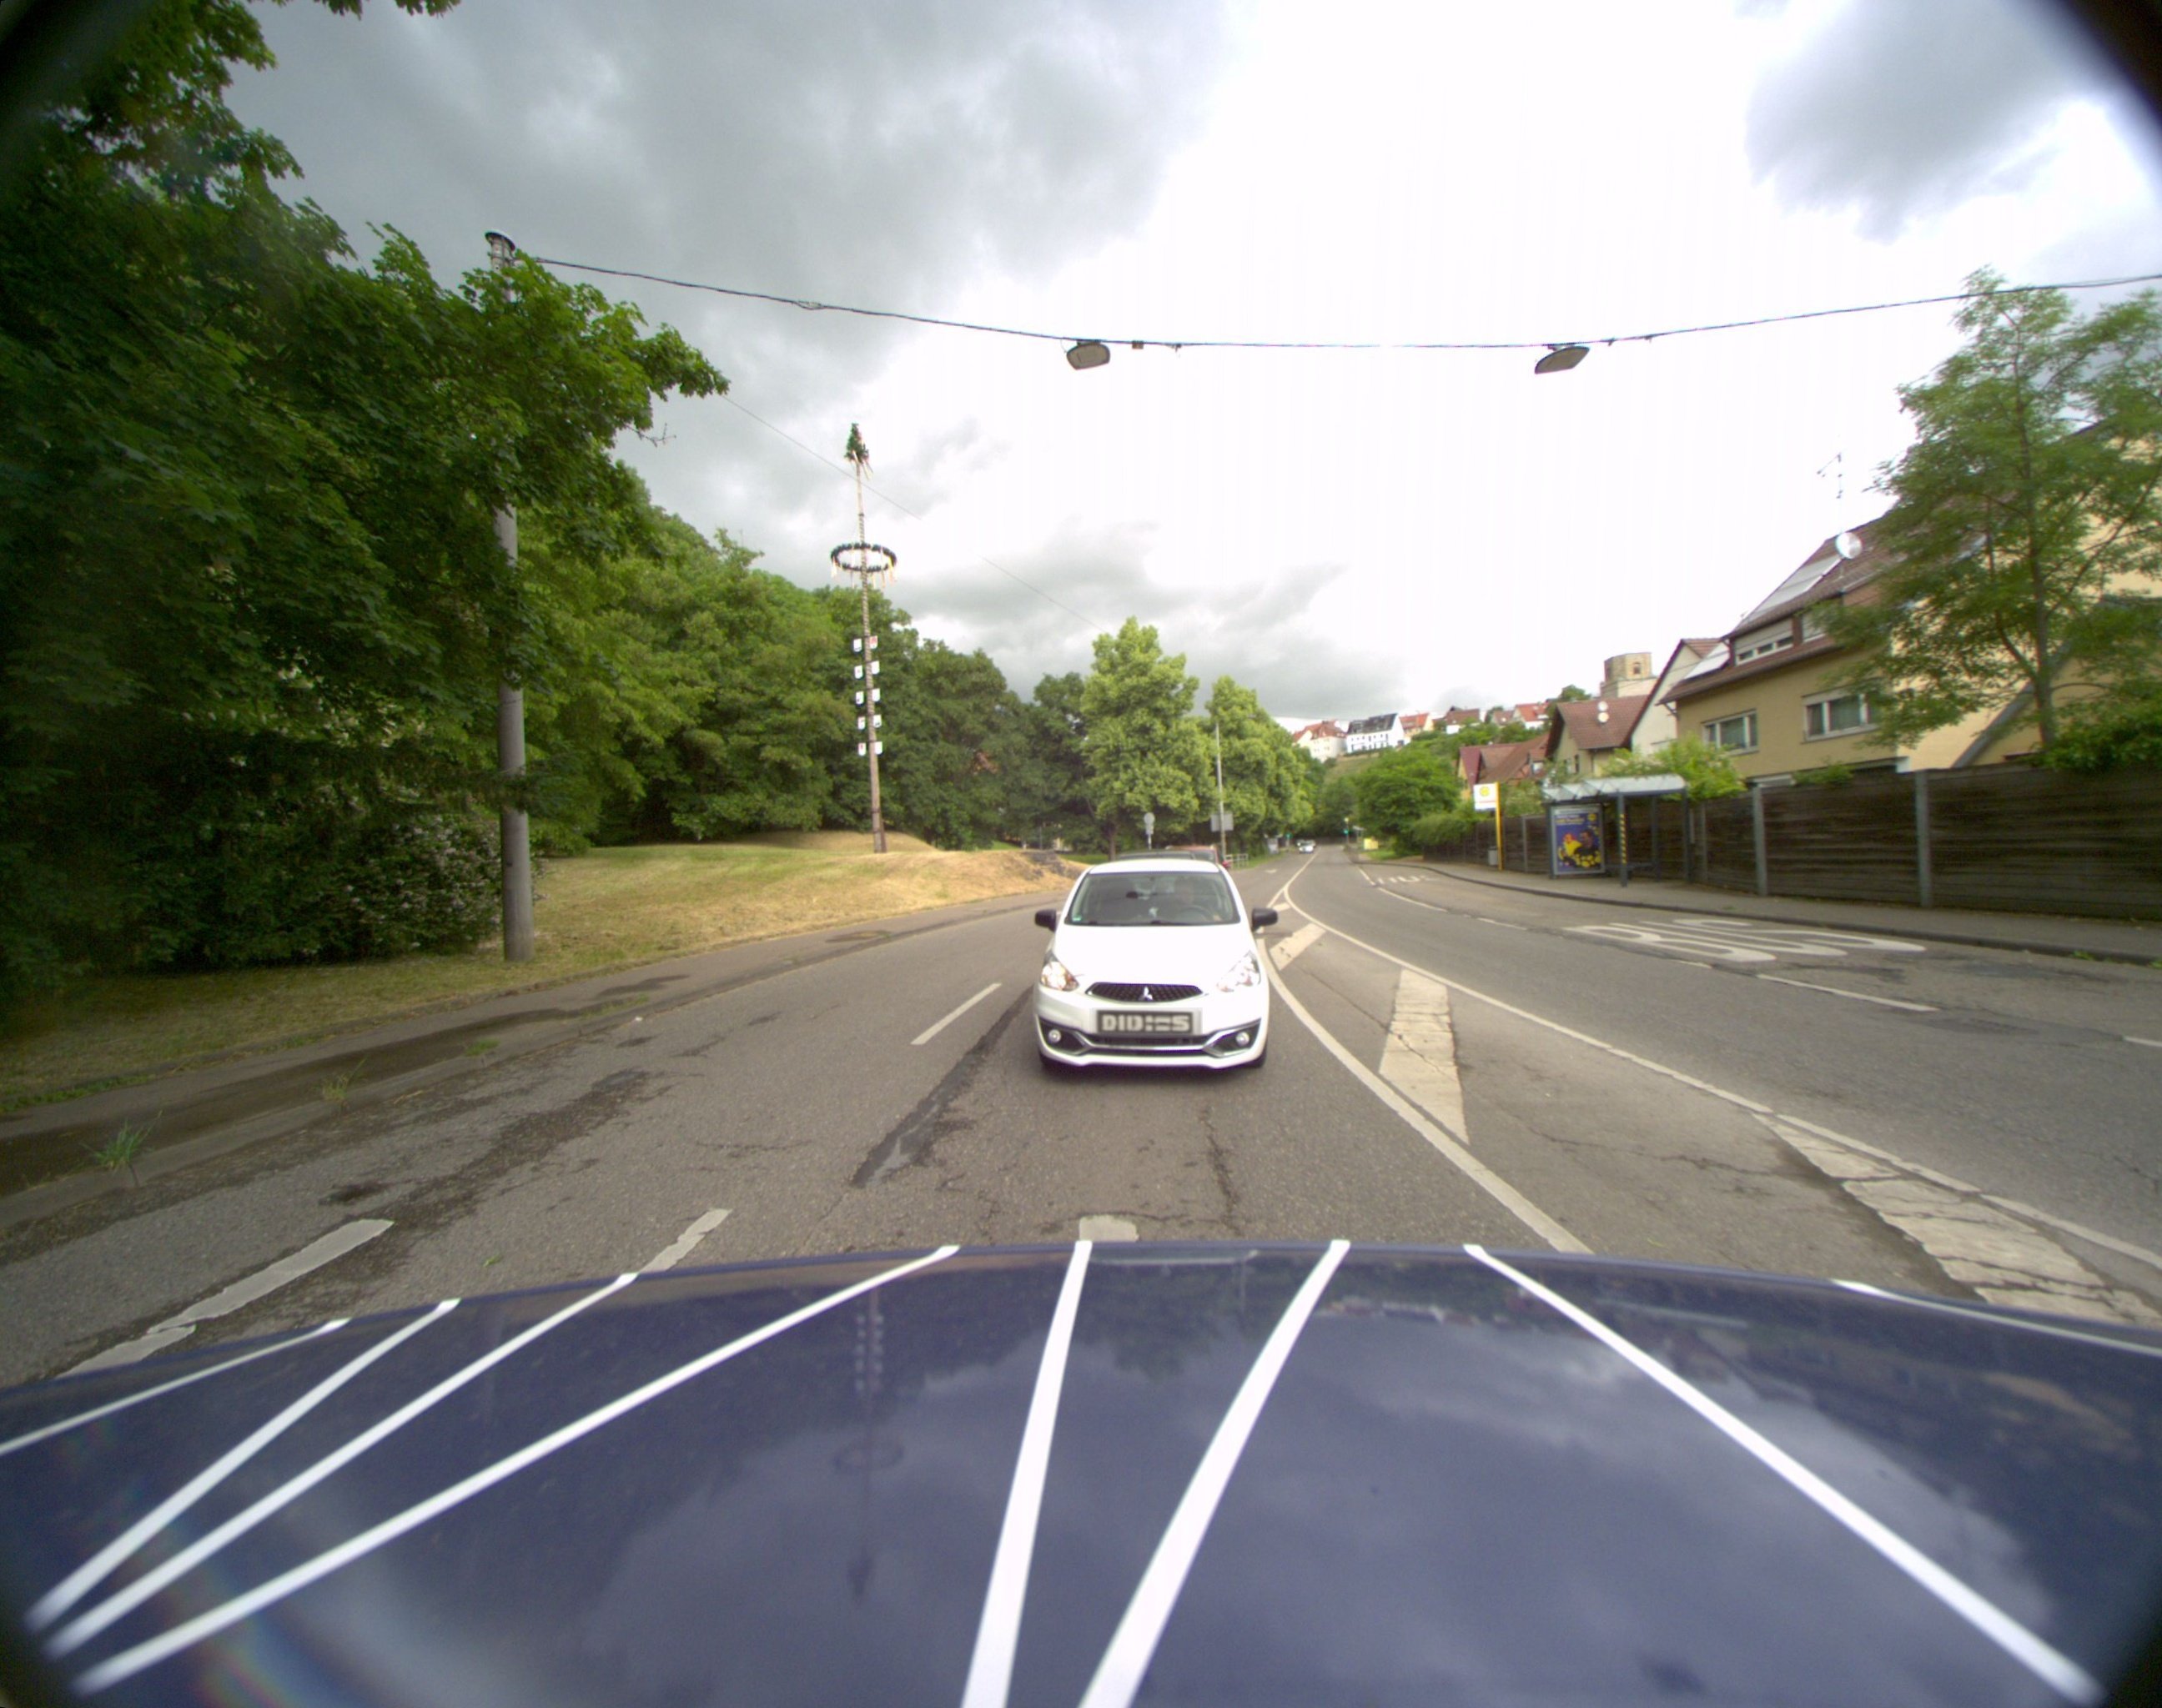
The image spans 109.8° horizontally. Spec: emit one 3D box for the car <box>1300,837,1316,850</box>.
[{"bbox_3d":[30.766,-1.459,103.007,1.844,1.630,4.003,-2,1,13],"label":"car"}]

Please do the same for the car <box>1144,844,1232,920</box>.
[{"bbox_3d":[2.852,0.624,19.464,1.826,1.662,4.061,-2,1,13],"label":"car"}]

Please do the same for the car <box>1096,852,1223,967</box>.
[{"bbox_3d":[1.388,0.788,12.592,1.723,1.539,3.784,-2,1,9],"label":"car"}]

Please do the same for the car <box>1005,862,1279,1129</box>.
[{"bbox_3d":[0.634,0.903,6.435,1.617,1.505,3.607,-2,1,9],"label":"car"}]

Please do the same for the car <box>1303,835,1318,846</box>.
[{"bbox_3d":[40.790,-2.397,135.102,1.910,1.745,4.002,-3,0,9],"label":"car"}]
